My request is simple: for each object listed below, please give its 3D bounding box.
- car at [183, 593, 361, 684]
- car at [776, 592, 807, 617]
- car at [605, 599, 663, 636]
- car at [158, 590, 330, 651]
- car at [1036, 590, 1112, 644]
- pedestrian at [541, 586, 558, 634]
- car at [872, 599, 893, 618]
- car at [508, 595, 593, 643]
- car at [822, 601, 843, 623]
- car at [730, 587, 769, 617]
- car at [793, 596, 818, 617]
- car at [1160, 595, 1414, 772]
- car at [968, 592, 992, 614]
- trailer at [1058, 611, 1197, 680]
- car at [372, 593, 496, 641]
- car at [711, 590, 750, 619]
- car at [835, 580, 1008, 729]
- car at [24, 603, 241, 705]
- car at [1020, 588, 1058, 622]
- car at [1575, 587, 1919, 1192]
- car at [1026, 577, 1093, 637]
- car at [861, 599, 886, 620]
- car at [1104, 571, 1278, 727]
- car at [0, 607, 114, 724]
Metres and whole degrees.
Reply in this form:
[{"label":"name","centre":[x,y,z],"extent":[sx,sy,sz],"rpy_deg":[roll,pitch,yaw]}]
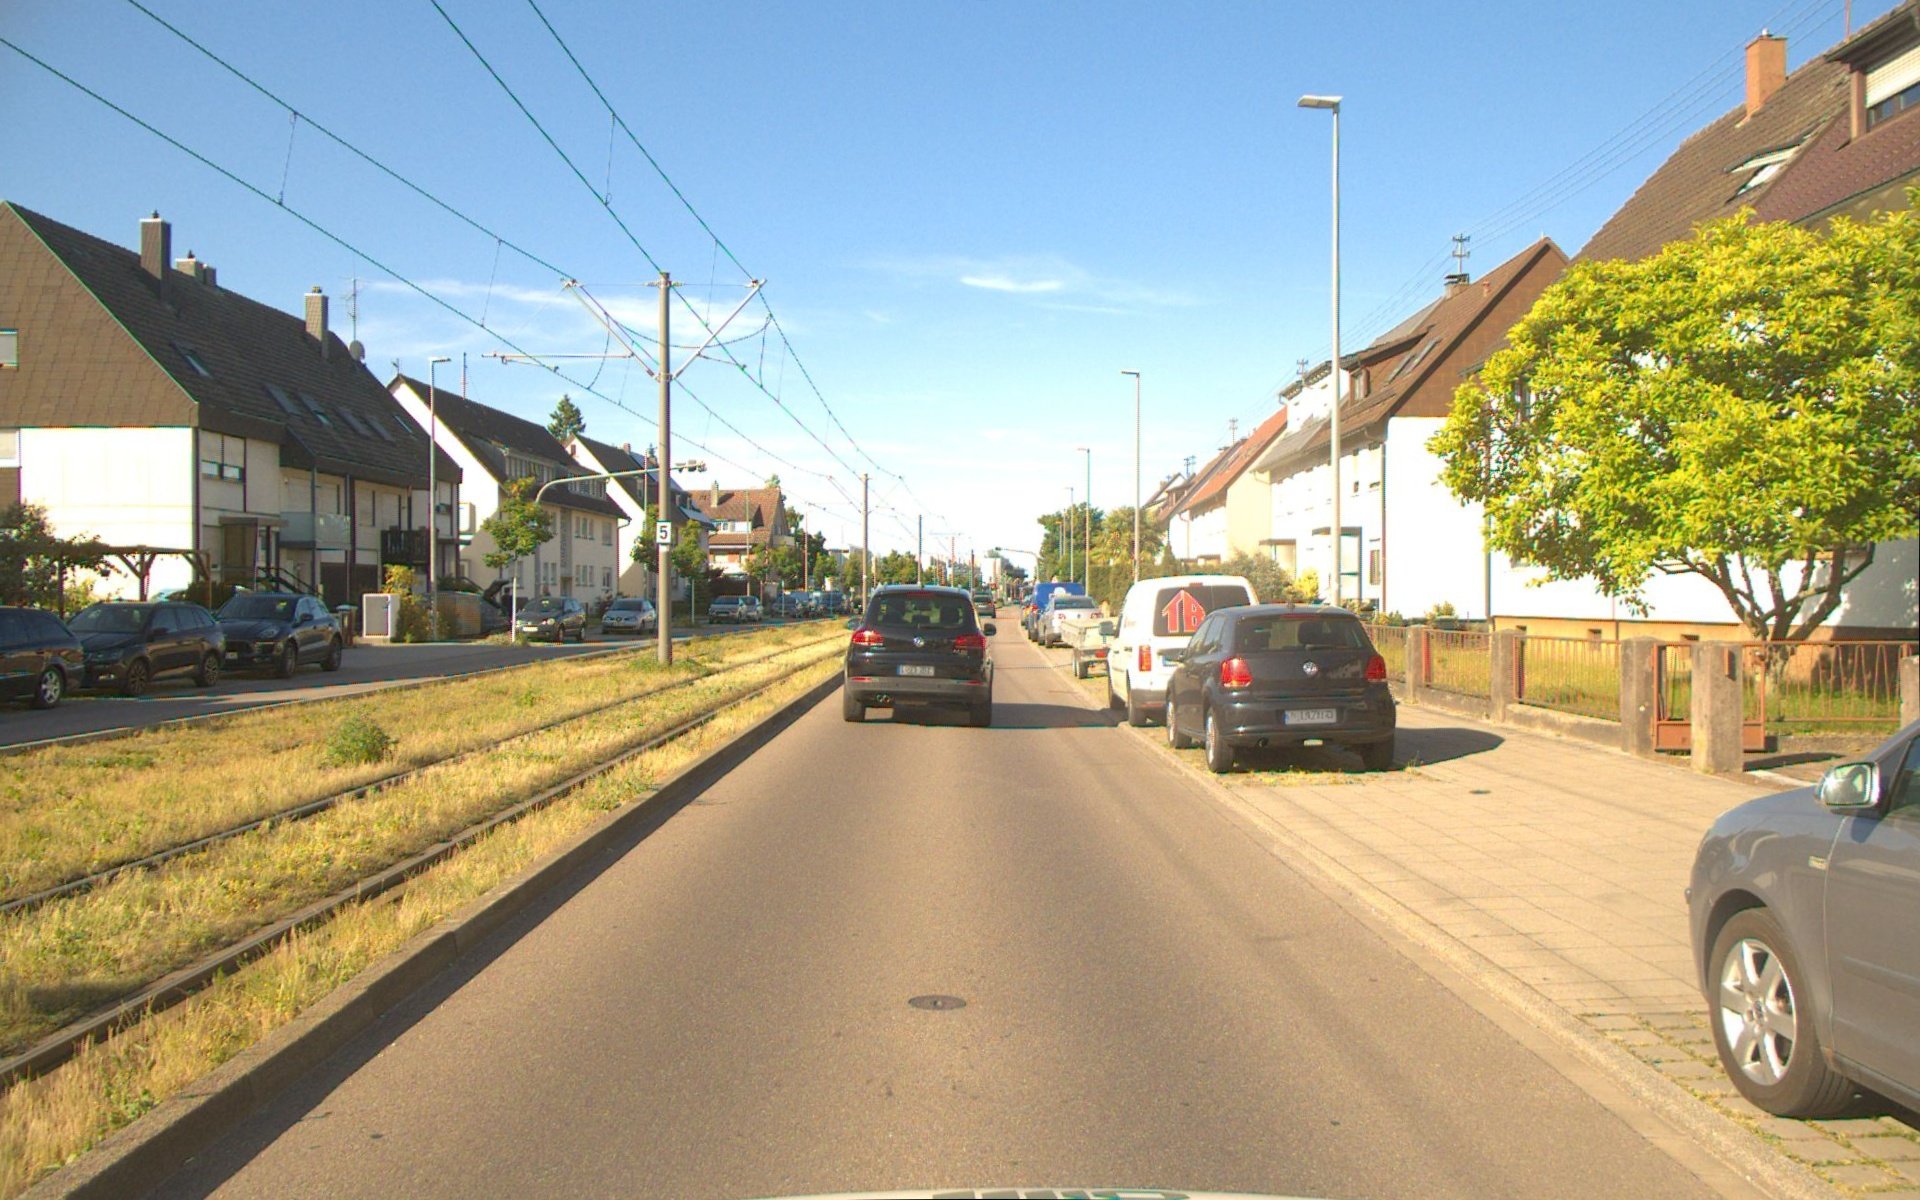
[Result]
[{"label":"car","centre":[-13.655,0.703,33.142],"extent":[1.767,1.625,4.809],"rpy_deg":[-1,1,-3]},{"label":"car","centre":[-11.446,0.340,112.657],"extent":[1.626,1.609,4.000],"rpy_deg":[-1,-1,0]},{"label":"car","centre":[-13.242,0.746,67.323],"extent":[1.585,1.434,3.717],"rpy_deg":[-1,-1,0]},{"label":"car","centre":[-20.232,0.563,46.883],"extent":[4.083,1.645,1.758],"rpy_deg":[-1,0,-4]},{"label":"car","centre":[3.320,0.469,48.826],"extent":[1.750,1.466,4.458],"rpy_deg":[-2,0,-2]},{"label":"pedestrian","centre":[-15.103,0.360,60.874],"extent":[0.459,1.776,0.536],"rpy_deg":[-1,0,-1]},{"label":"car","centre":[-7.148,0.785,152.412],"extent":[1.729,1.645,3.999],"rpy_deg":[-1,-1,0]},{"label":"car","centre":[-13.438,0.603,54.460],"extent":[1.584,1.478,3.720],"rpy_deg":[-1,1,5]},{"label":"car","centre":[-10.447,0.989,135.619],"extent":[1.435,1.706,3.287],"rpy_deg":[-1,0,0]},{"label":"car","centre":[-12.275,0.118,96.630],"extent":[1.766,1.660,4.000],"rpy_deg":[-1,1,0]},{"label":"car","centre":[-11.050,0.459,118.678],"extent":[1.484,1.385,3.590],"rpy_deg":[-1,0,-1]},{"label":"car","centre":[3.045,0.716,16.194],"extent":[1.637,1.478,4.125],"rpy_deg":[-1,0,0]},{"label":"car","centre":[1.312,0.189,110.170],"extent":[1.540,1.415,3.614],"rpy_deg":[-1,0,0]},{"label":"trailer","centre":[3.161,0.835,32.070],"extent":[2.159,1.113,4.371],"rpy_deg":[-2,0,-1]},{"label":"car","centre":[-18.299,0.579,57.643],"extent":[3.827,1.595,1.732],"rpy_deg":[-1,0,-7]},{"label":"car","centre":[-12.525,0.227,90.470],"extent":[1.625,1.523,3.579],"rpy_deg":[-1,0,0]},{"label":"car","centre":[-0.597,0.636,21.314],"extent":[1.777,1.700,4.251],"rpy_deg":[1,0,-7]},{"label":"car","centre":[-13.683,0.835,27.621],"extent":[1.489,1.500,4.201],"rpy_deg":[0,1,0]},{"label":"car","centre":[3.663,0.230,77.210],"extent":[1.611,1.561,3.864],"rpy_deg":[-1,0,0]},{"label":"car","centre":[3.172,0.708,3.984],"extent":[1.583,1.501,4.447],"rpy_deg":[-1,0,-2]},{"label":"car","centre":[3.276,0.201,55.199],"extent":[1.953,1.894,4.917],"rpy_deg":[-1,0,0]},{"label":"car","centre":[-7.255,0.790,139.215],"extent":[1.835,1.684,3.999],"rpy_deg":[-1,-1,0]},{"label":"car","centre":[2.913,0.556,21.751],"extent":[1.655,1.807,4.656],"rpy_deg":[-1,0,0]},{"label":"car","centre":[-13.703,0.881,22.390],"extent":[1.838,1.549,4.882],"rpy_deg":[0,0,2]}]
